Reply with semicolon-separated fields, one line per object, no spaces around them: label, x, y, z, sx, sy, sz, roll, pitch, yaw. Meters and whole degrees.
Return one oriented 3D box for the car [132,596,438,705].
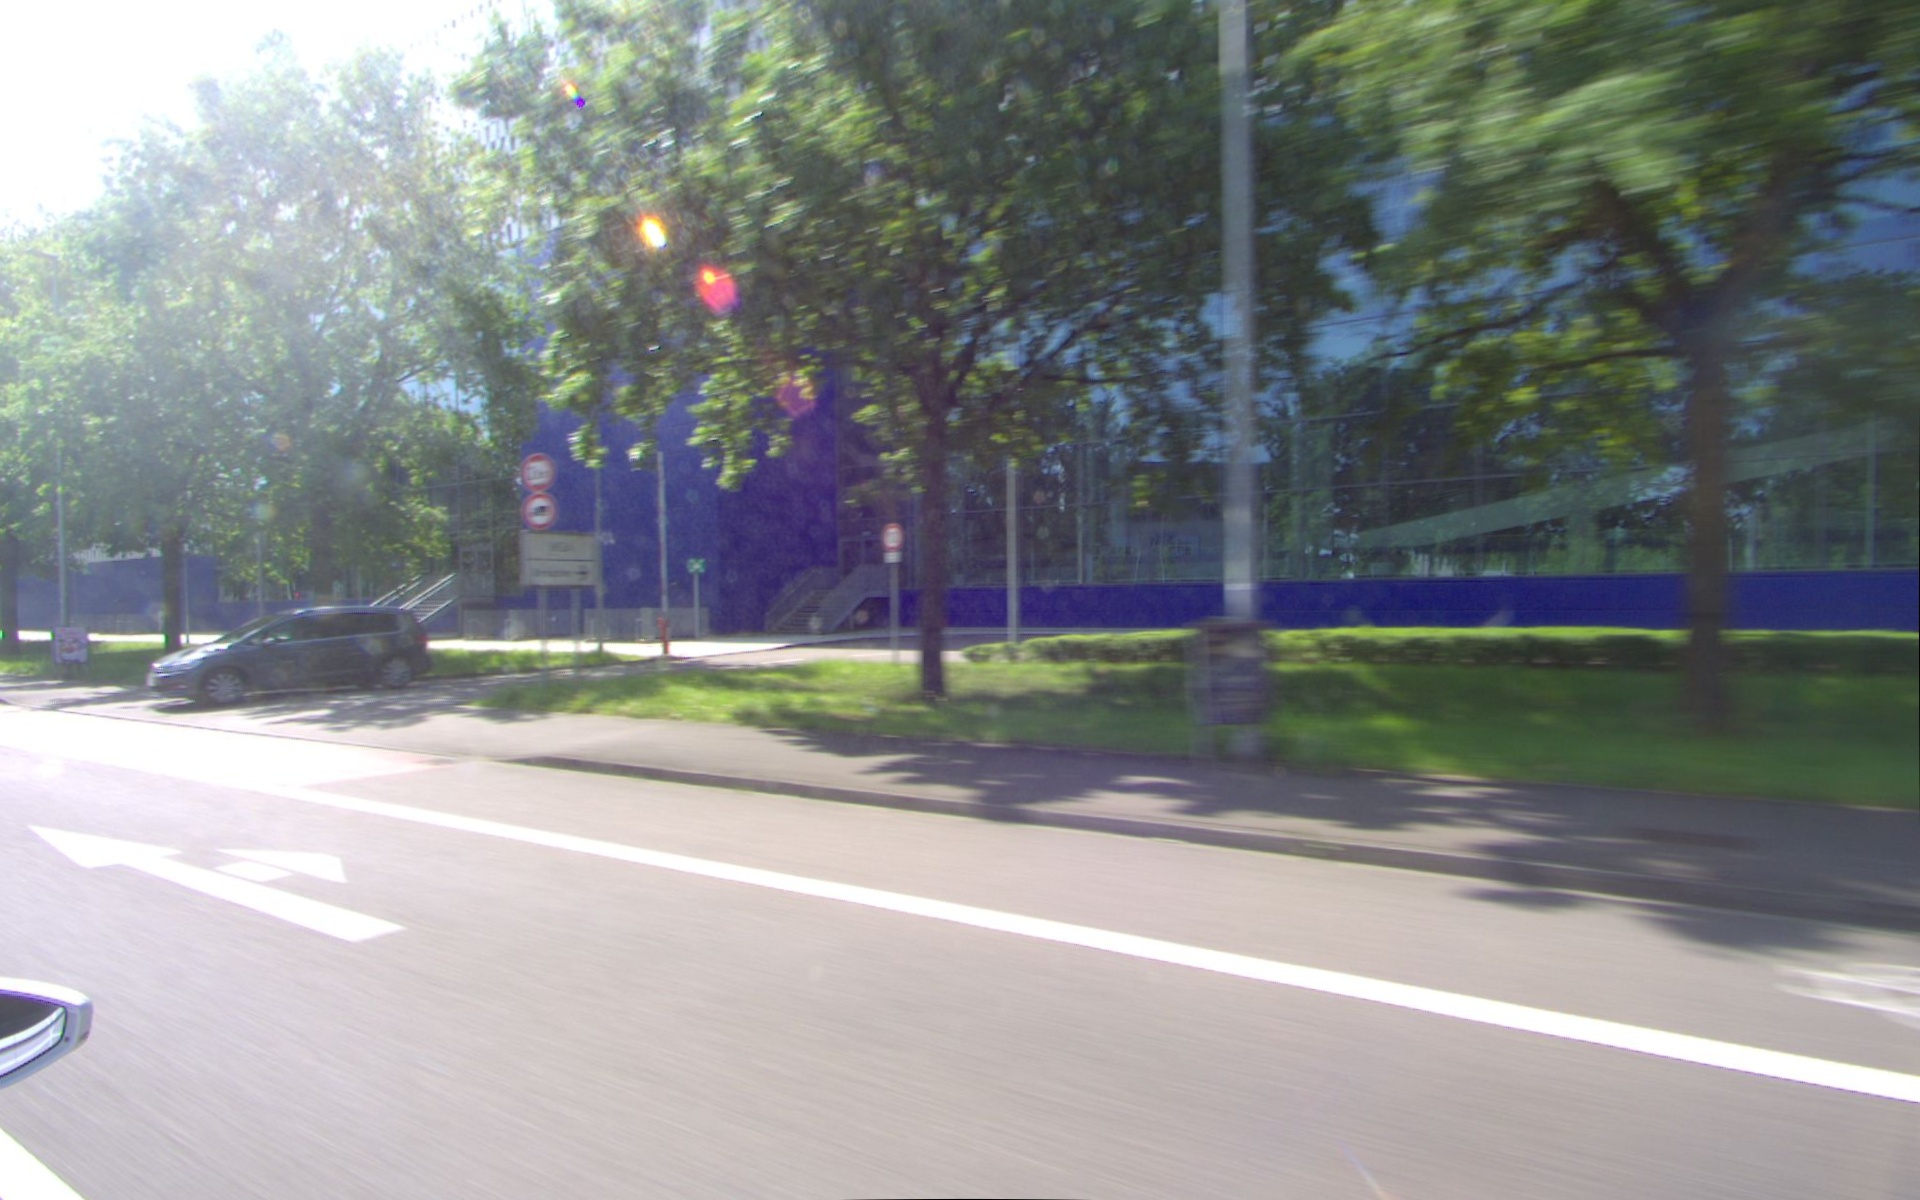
car;-12.584;0.838;18.920;1.822;1.716;4.424;0;1;39
